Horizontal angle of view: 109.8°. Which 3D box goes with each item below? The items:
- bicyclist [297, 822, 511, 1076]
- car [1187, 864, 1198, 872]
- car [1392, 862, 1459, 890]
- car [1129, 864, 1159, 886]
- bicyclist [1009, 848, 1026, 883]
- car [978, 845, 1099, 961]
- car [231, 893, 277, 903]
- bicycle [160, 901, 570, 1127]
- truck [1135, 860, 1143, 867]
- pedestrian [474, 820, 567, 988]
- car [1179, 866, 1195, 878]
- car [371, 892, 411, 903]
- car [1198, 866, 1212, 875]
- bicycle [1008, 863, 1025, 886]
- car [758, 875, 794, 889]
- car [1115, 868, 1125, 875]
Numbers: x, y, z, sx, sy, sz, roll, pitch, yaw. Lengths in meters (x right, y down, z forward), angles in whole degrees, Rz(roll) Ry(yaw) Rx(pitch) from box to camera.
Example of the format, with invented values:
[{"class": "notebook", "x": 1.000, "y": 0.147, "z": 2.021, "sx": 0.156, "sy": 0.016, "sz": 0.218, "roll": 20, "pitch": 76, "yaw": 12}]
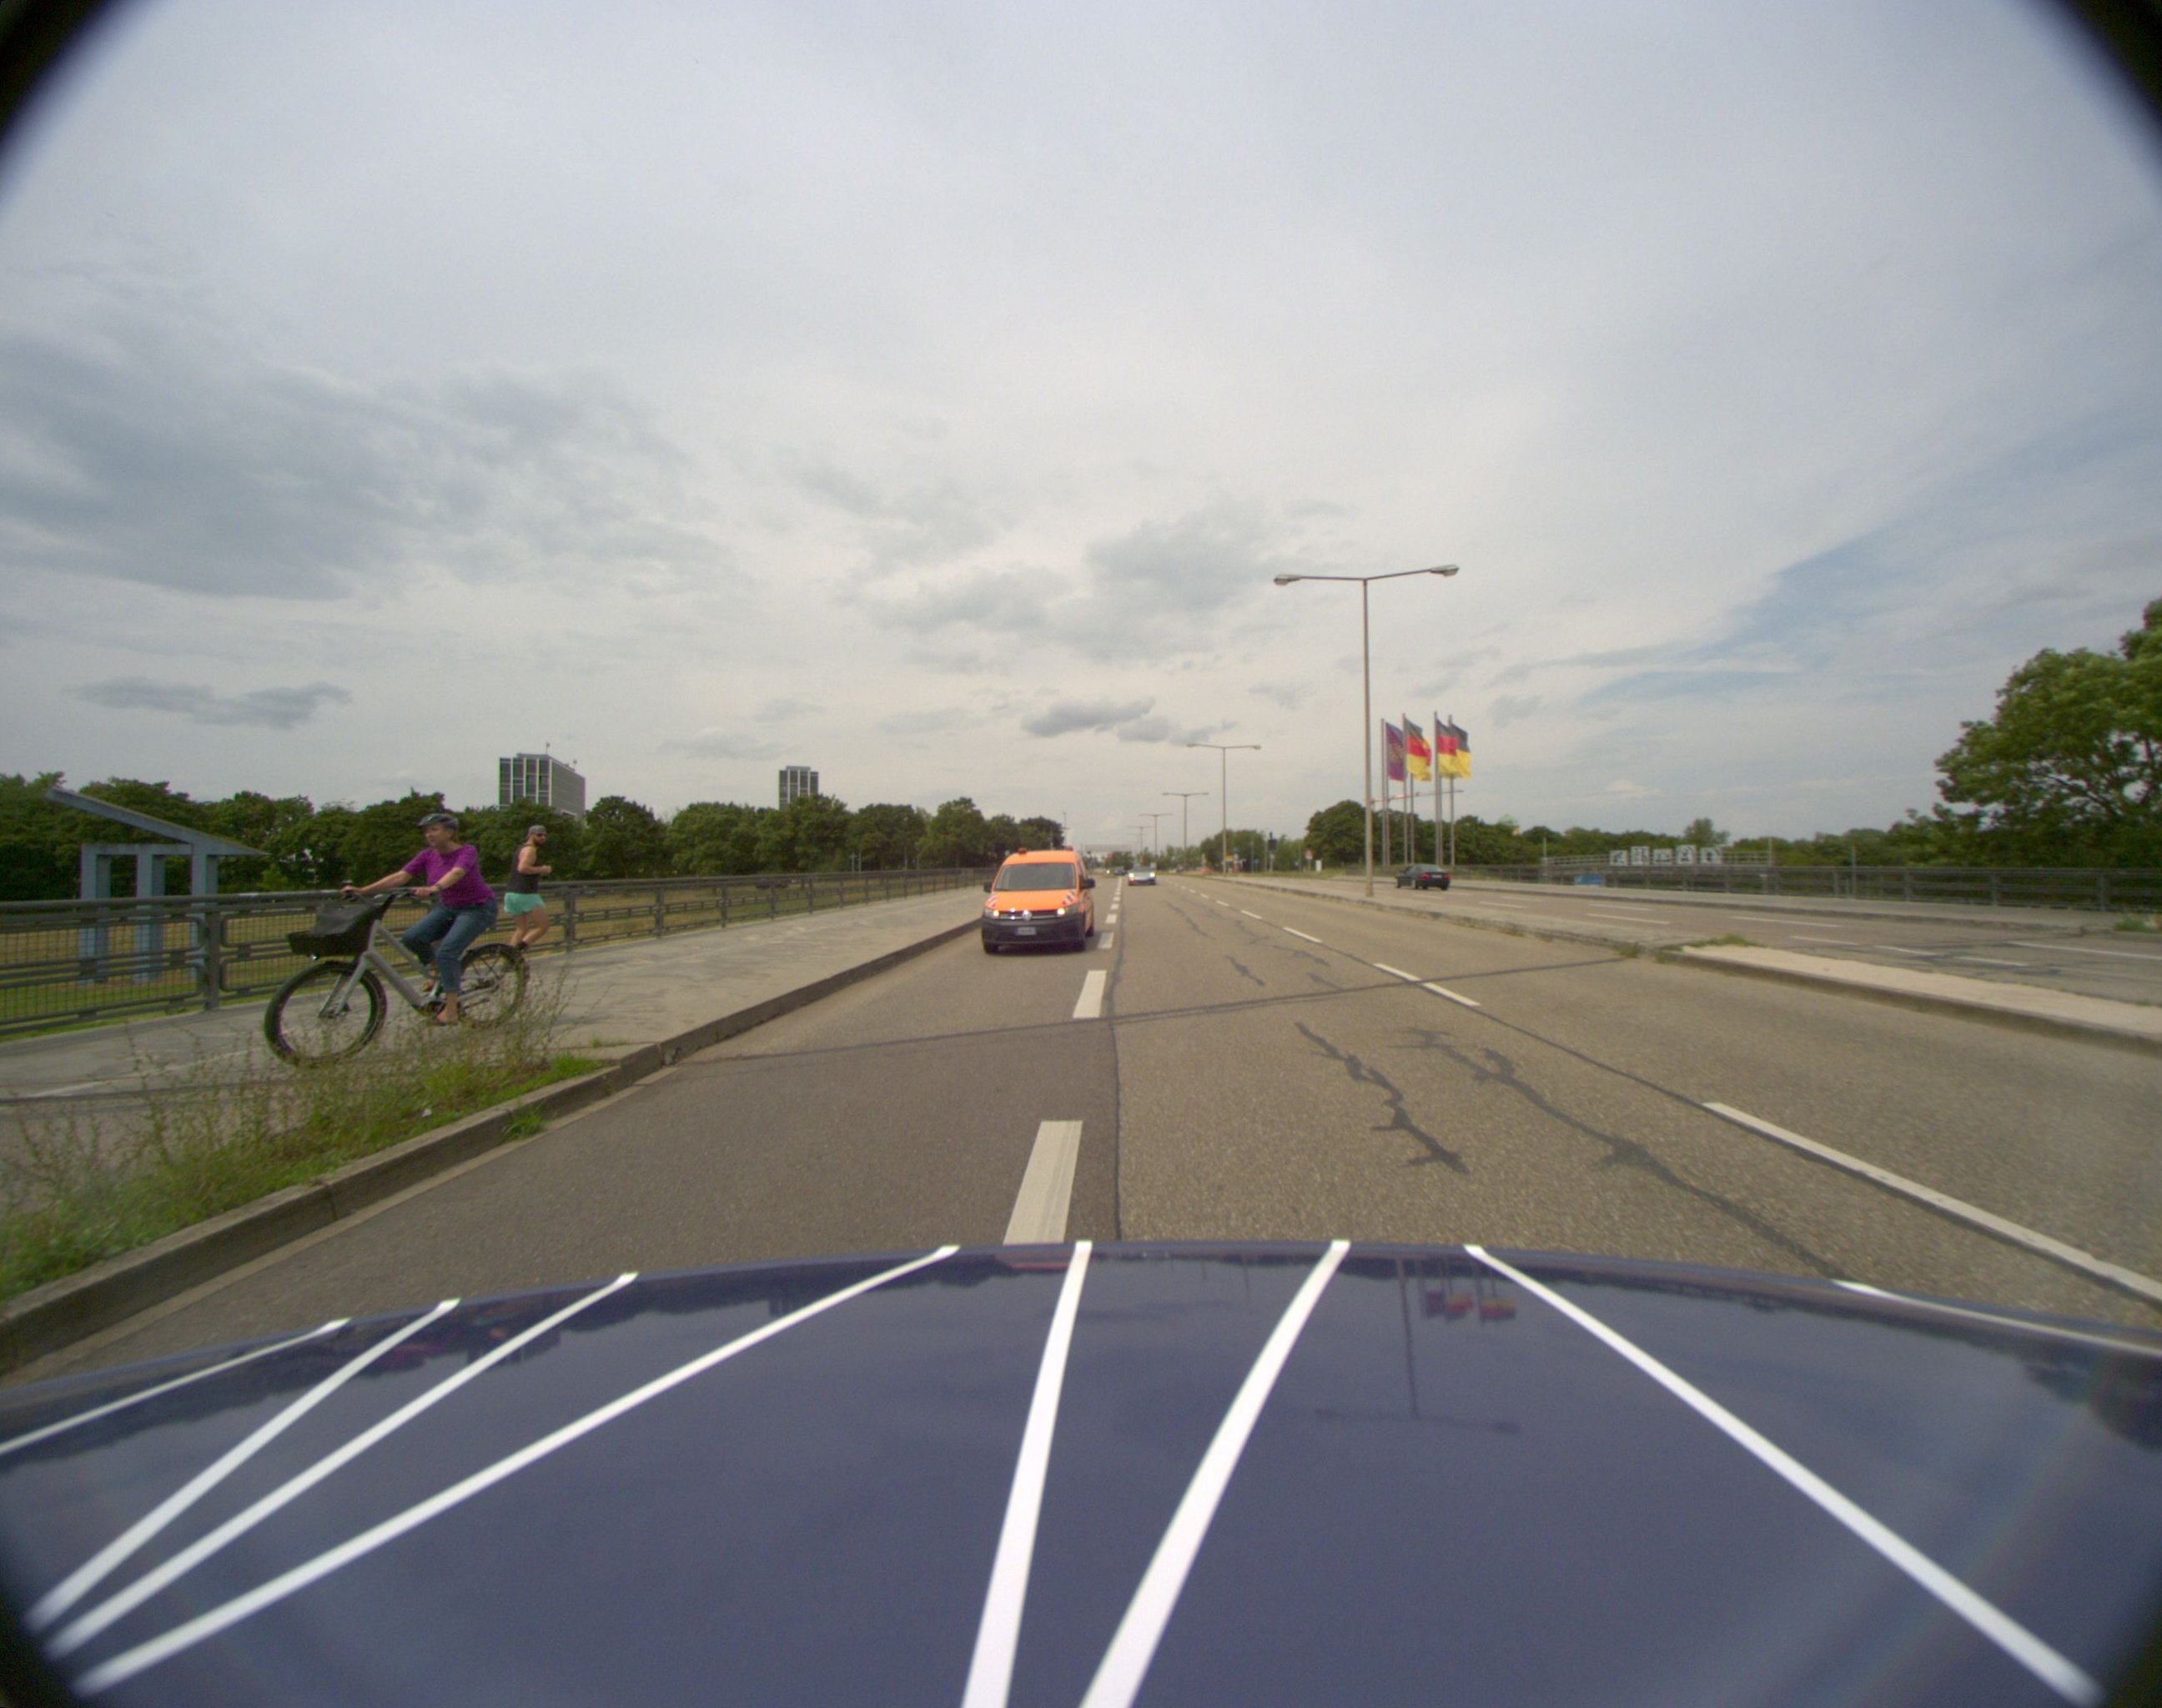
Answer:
[{"class": "bicyclist", "x": -5.037, "y": 0.659, "z": 5.730, "sx": 0.705, "sy": 1.745, "sz": 0.991, "roll": 0, "pitch": 0, "yaw": 1}, {"class": "car", "x": 21.901, "y": 2.738, "z": 149.282, "sx": 1.695, "sy": 1.484, "sz": 4.000, "roll": 1, "pitch": -1, "yaw": 1}, {"class": "car", "x": 18.731, "y": 1.166, "z": 41.566, "sx": 1.997, "sy": 1.365, "sz": 4.579, "roll": 1, "pitch": 0, "yaw": 6}, {"class": "car", "x": 4.229, "y": 1.389, "z": 51.695, "sx": 1.695, "sy": 1.403, "sz": 3.684, "roll": -2, "pitch": -1, "yaw": 0}, {"class": "bicyclist", "x": -3.263, "y": 0.583, "z": 39.175, "sx": 0.873, "sy": 1.791, "sz": 0.956, "roll": 1, "pitch": 0, "yaw": -4}, {"class": "car", "x": -0.635, "y": 0.832, "z": 14.497, "sx": 1.892, "sy": 1.824, "sz": 4.431, "roll": -2, "pitch": -1, "yaw": 1}, {"class": "car", "x": -108.806, "y": 5.816, "z": 100.015, "sx": 3.687, "sy": 1.124, "sz": 1.677, "roll": -1, "pitch": -1, "yaw": -22}, {"class": "bicycle", "x": -4.996, "y": 1.010, "z": 5.653, "sx": 0.695, "sy": 1.185, "sz": 2.461, "roll": 0, "pitch": 0, "yaw": 1}, {"class": "truck", "x": 16.461, "y": 2.748, "z": 216.075, "sx": 1.998, "sy": 2.001, "sz": 4.001, "roll": -1, "pitch": -1, "yaw": 1}, {"class": "pedestrian", "x": -6.937, "y": 0.607, "z": 9.431, "sx": 0.628, "sy": 2.001, "sz": 0.668, "roll": -1, "pitch": 0, "yaw": 3}, {"class": "car", "x": 16.609, "y": 2.793, "z": 119.232, "sx": 1.998, "sy": 1.630, "sz": 4.663, "roll": 3, "pitch": -1, "yaw": 2}, {"class": "car", "x": -96.536, "y": 6.109, "z": 106.319, "sx": 3.687, "sy": 1.264, "sz": 1.677, "roll": -1, "pitch": -1, "yaw": -22}, {"class": "car", "x": 21.685, "y": 2.868, "z": 132.985, "sx": 1.695, "sy": 1.484, "sz": 4.000, "roll": 1, "pitch": -1, "yaw": 1}, {"class": "bicycle", "x": -3.313, "y": 1.046, "z": 39.242, "sx": 0.815, "sy": 1.134, "sz": 1.763, "roll": -2, "pitch": 0, "yaw": -4}, {"class": "car", "x": -45.048, "y": 4.086, "z": 112.218, "sx": 4.467, "sy": 2.001, "sz": 2.001, "roll": -1, "pitch": -1, "yaw": 3}, {"class": "car", "x": 6.383, "y": 2.858, "z": 124.556, "sx": 1.558, "sy": 1.229, "sz": 3.470, "roll": -2, "pitch": -1, "yaw": 1}]
